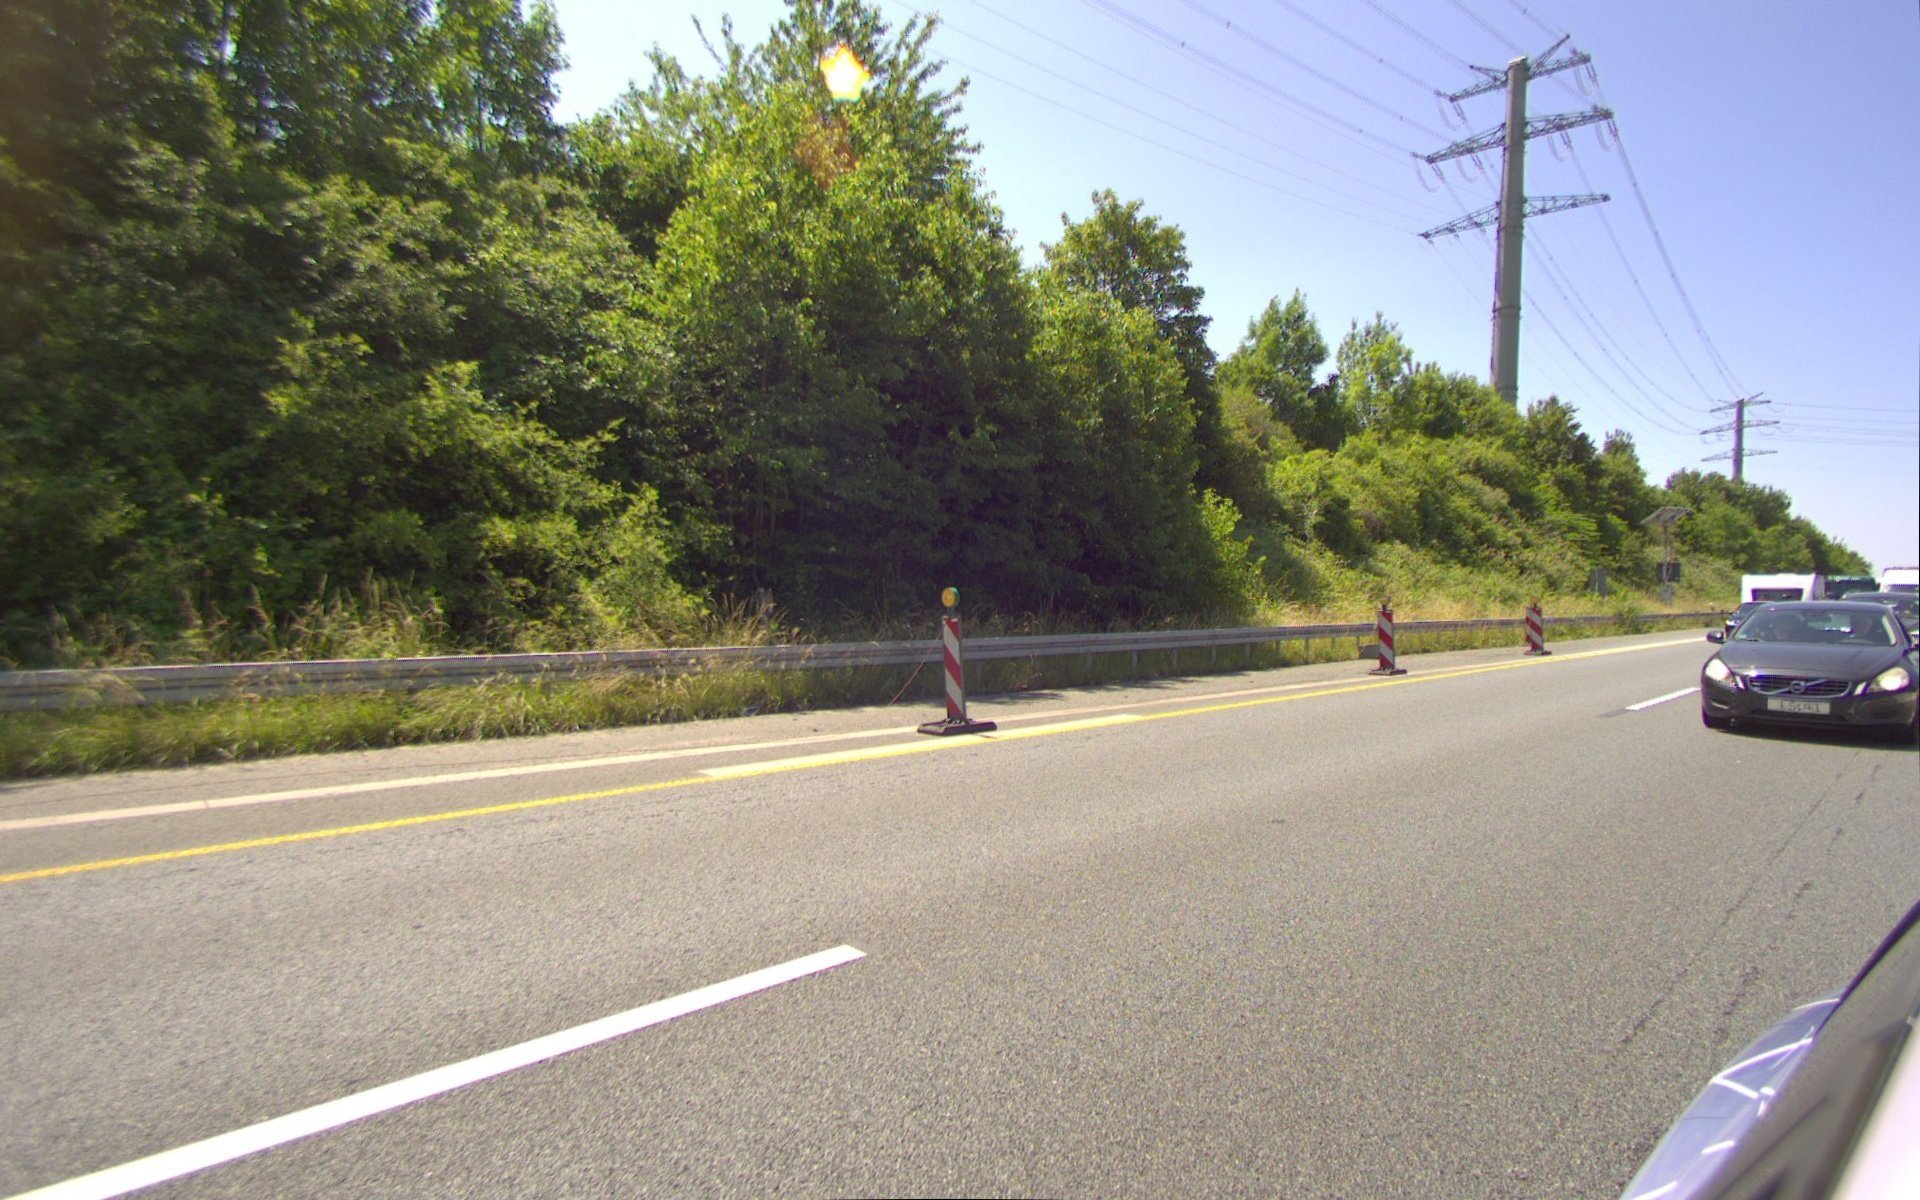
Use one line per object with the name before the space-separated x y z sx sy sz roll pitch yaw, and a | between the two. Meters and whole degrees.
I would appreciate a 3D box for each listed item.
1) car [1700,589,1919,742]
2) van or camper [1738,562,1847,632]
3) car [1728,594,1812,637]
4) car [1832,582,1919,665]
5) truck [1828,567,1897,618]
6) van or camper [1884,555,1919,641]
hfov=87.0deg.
car | 10.085 0.620 11.690 3.933 1.459 1.796 0 1 -43
van or camper | 33.897 -0.144 41.073 8.276 2.597 2.428 0 1 -43
car | 29.419 0.510 36.704 4.139 1.425 1.798 0 2 -43
car | 20.692 0.467 22.268 4.085 1.689 1.743 0 1 -42
truck | 59.577 -0.464 66.744 7.515 3.181 2.428 0 -2 -42
van or camper | 31.727 -0.050 32.816 5.532 2.652 1.997 0 2 -42
